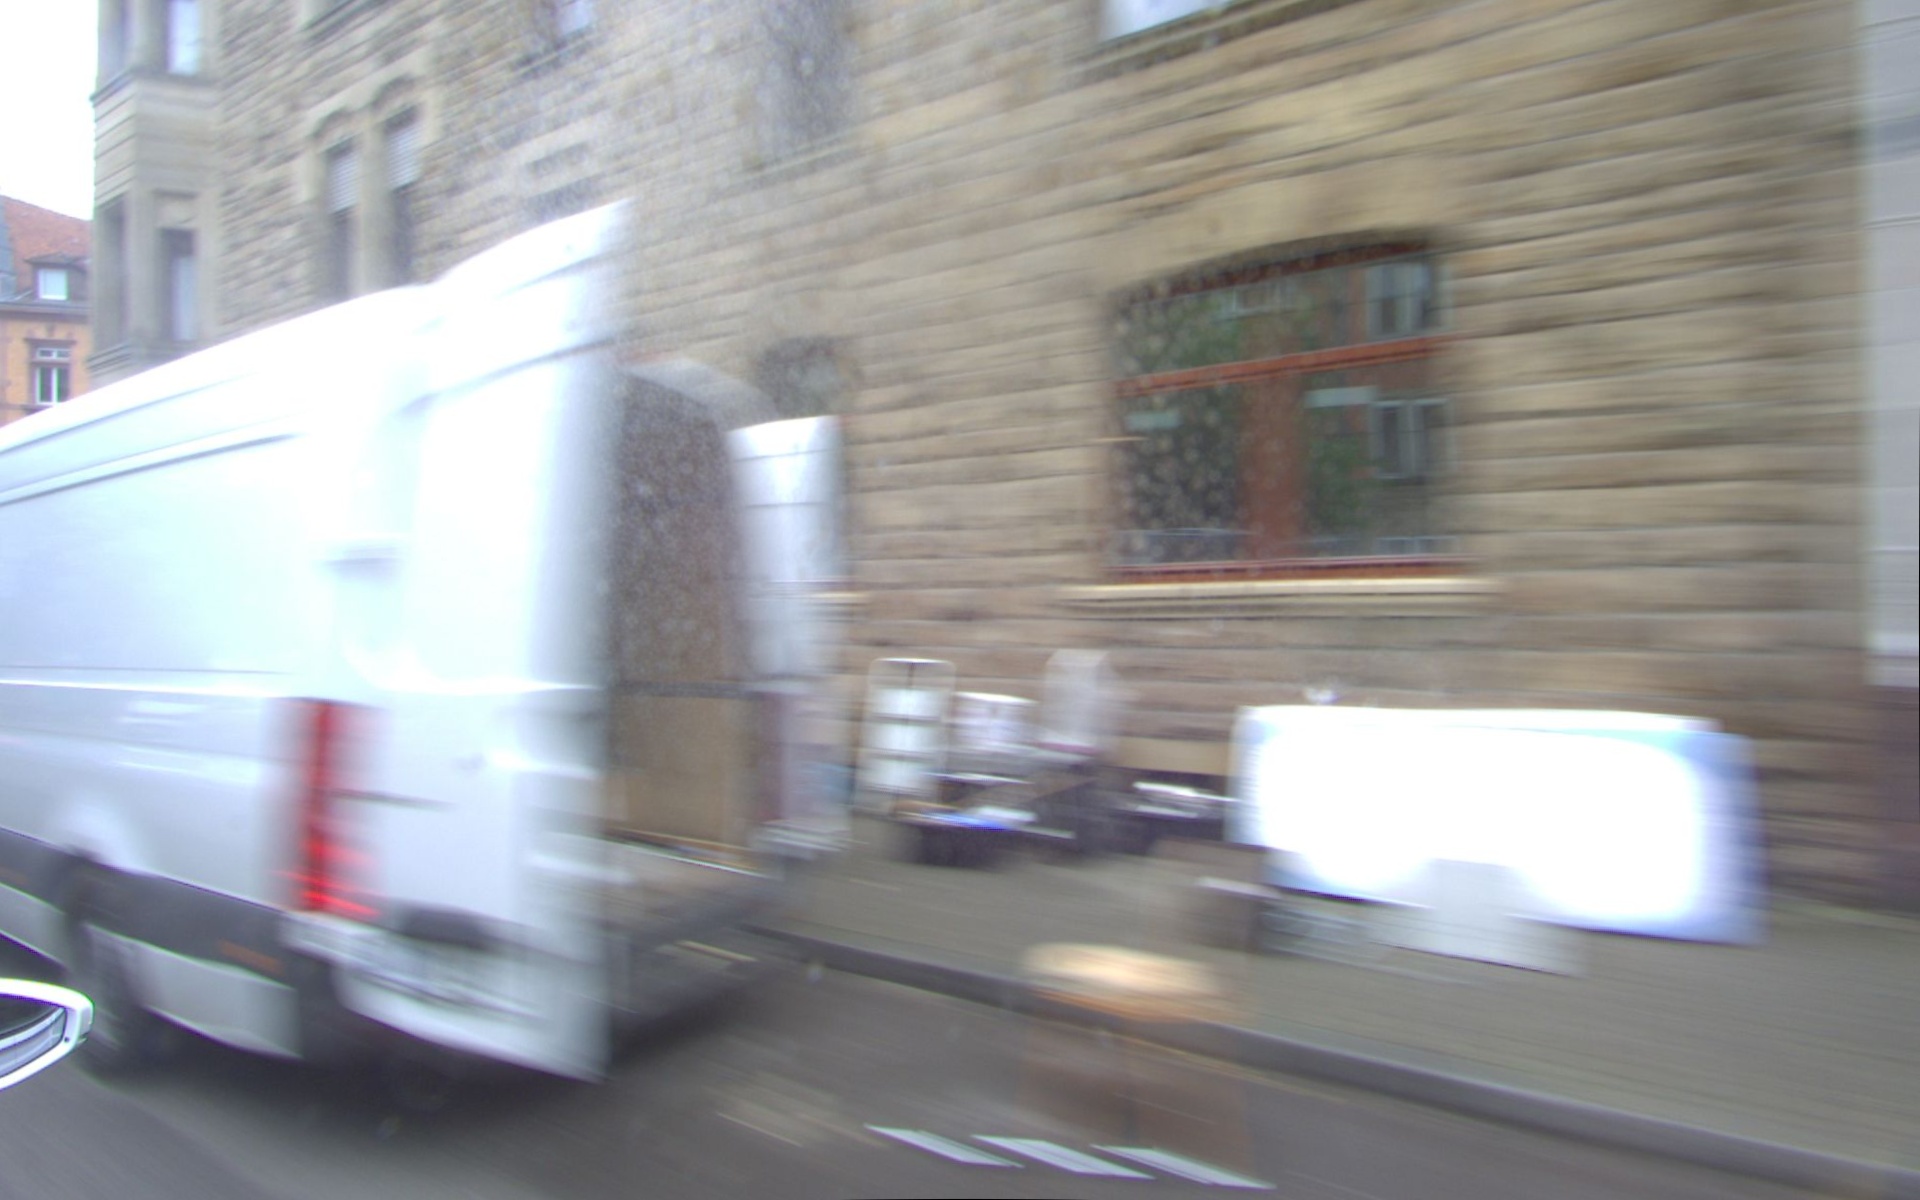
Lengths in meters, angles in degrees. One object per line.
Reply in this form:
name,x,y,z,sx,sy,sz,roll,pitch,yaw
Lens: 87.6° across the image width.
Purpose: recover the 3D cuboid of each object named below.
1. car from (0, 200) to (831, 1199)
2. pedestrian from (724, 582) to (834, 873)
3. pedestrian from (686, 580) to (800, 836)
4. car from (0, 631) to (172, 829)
car,-3.994,0.384,5.239,6.918,2.580,2.010,-1,-3,33
pedestrian,-1.115,0.754,6.275,0.483,1.723,0.704,-1,1,4
pedestrian,-1.535,0.734,7.112,0.571,1.740,0.508,0,1,22
car,-9.128,1.014,8.929,4.937,1.468,1.821,-1,-3,33
